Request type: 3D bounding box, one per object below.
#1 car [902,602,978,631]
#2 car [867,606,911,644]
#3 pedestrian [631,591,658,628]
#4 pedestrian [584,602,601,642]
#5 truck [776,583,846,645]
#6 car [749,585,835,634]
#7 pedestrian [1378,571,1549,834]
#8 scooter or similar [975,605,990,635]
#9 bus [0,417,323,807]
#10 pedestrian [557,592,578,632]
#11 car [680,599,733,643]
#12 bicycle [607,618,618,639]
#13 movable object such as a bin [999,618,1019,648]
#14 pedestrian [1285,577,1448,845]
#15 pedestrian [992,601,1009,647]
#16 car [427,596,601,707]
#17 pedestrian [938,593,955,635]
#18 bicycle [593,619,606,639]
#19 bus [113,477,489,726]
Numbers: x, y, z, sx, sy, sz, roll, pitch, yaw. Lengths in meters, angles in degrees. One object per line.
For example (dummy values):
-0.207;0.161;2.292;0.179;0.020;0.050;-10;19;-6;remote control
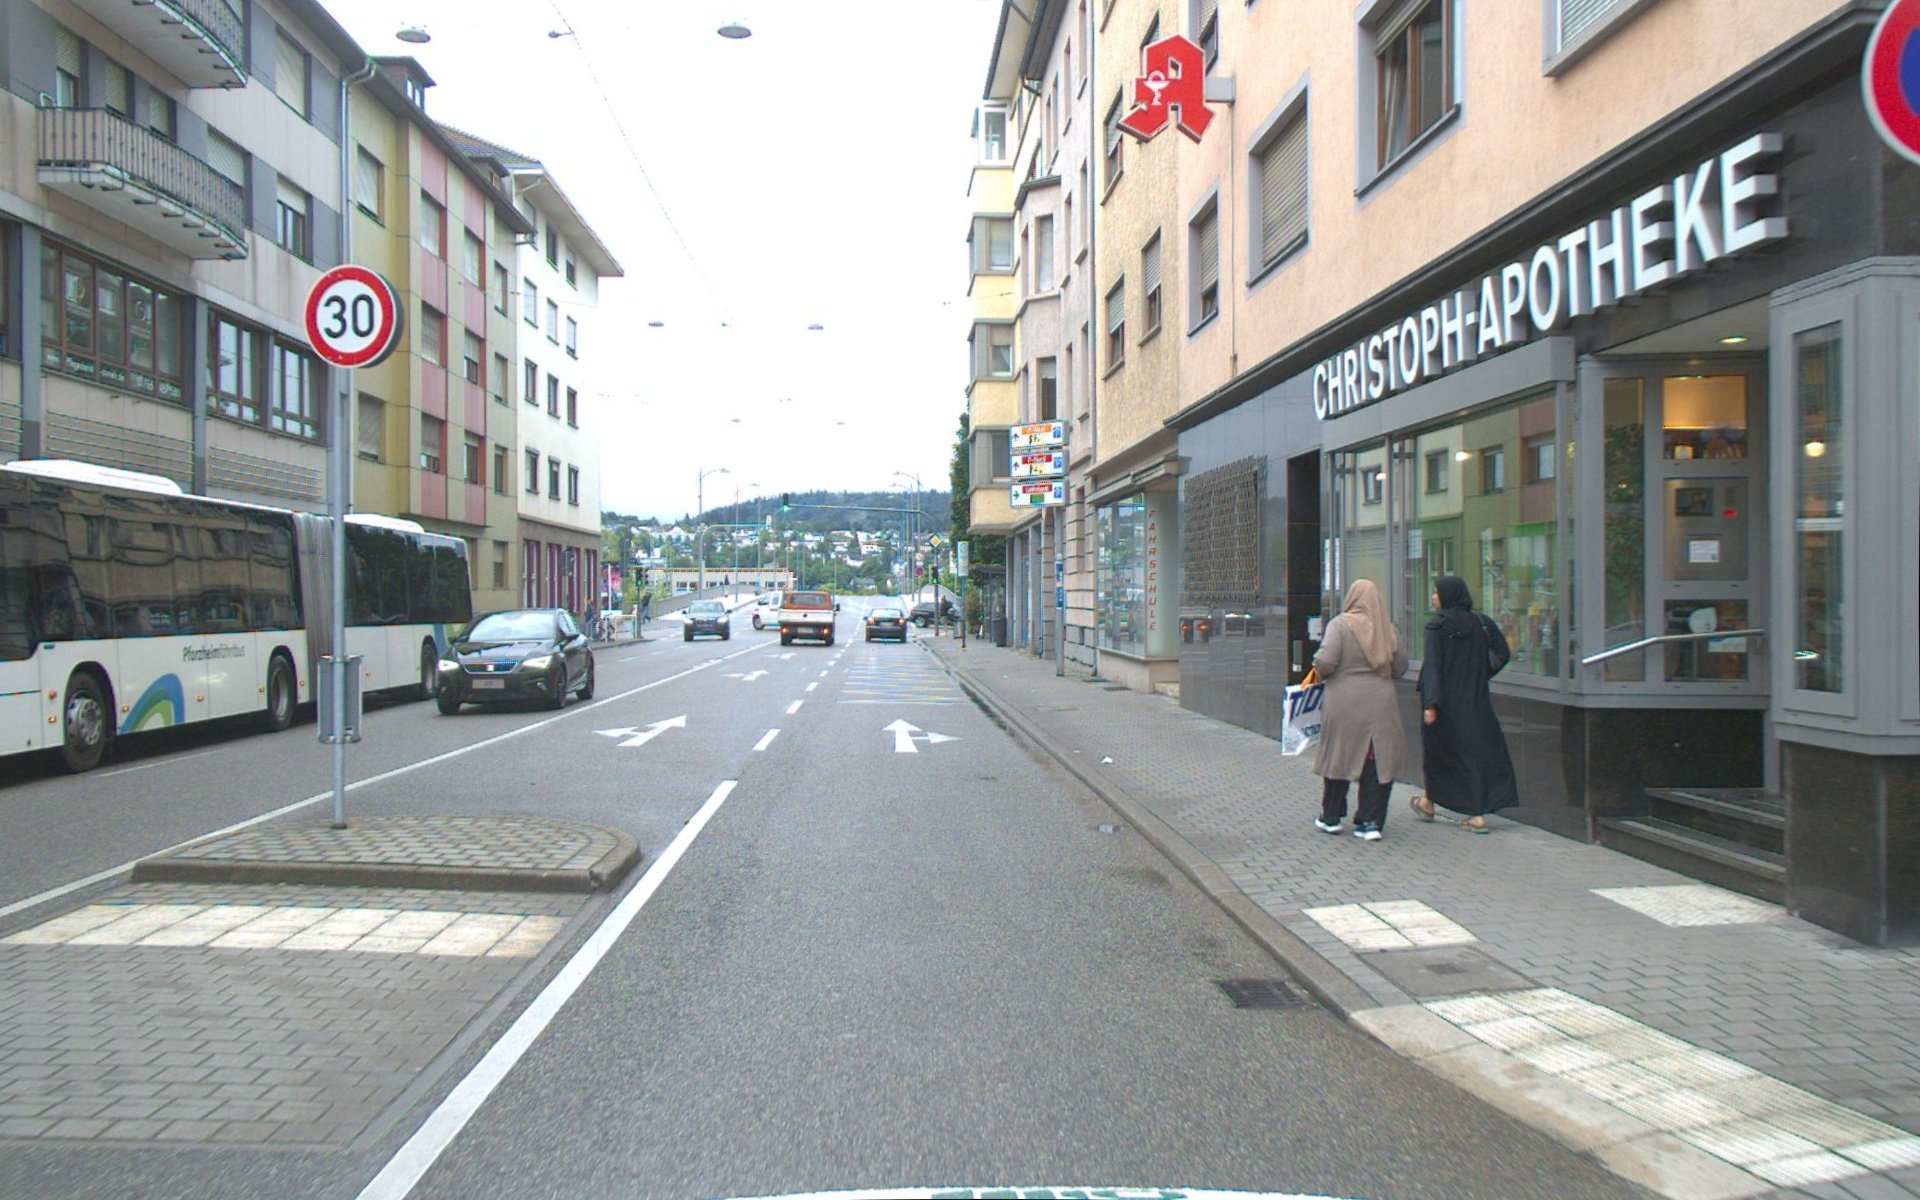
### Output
-1.100;0.905;92.035;3.901;1.579;2.002;-1;0;11;car
-2.907;1.008;67.762;1.719;1.505;3.998;1;0;-3;car
-17.762;0.536;93.055;0.965;2.049;1.170;-1;-1;34;pedestrian
-14.884;0.889;66.951;0.563;1.581;0.739;0;-1;-6;pedestrian
-5.433;0.513;60.843;2.352;2.167;5.311;-1;0;-3;truck
-8.590;0.502;84.041;1.981;2.392;4.938;0;-1;-39;car
3.171;0.620;10.490;0.753;1.587;0.875;0;-1;-5;pedestrian
0.891;0.794;66.960;0.501;1.193;1.548;-1;0;-3;scooter or similar
-9.496;0.130;17.183;2.703;3.244;8.906;-1;0;-3;bus
-15.897;0.492;66.997;0.758;1.605;0.588;-1;-1;-3;pedestrian
-10.781;0.871;70.528;1.893;1.788;4.568;-1;0;-5;car
-13.792;1.120;65.638;0.259;0.797;1.110;-1;0;-3;bicycle
1.592;1.077;54.117;0.588;0.942;0.704;-1;-1;-3;movable object such as a bin
2.502;0.663;10.256;0.763;1.587;0.782;0;-1;-5;pedestrian
1.532;0.908;62.246;0.606;1.729;0.656;-1;-1;1;pedestrian
-6.418;0.700;24.227;1.675;1.476;4.082;-1;0;-4;car
-0.607;0.627;74.284;0.718;1.873;0.630;0;-1;-5;pedestrian
-14.213;1.144;65.258;0.259;0.797;1.421;-1;0;-3;bicycle
-9.946;0.042;26.306;2.671;3.244;9.287;-1;0;-3;bus
